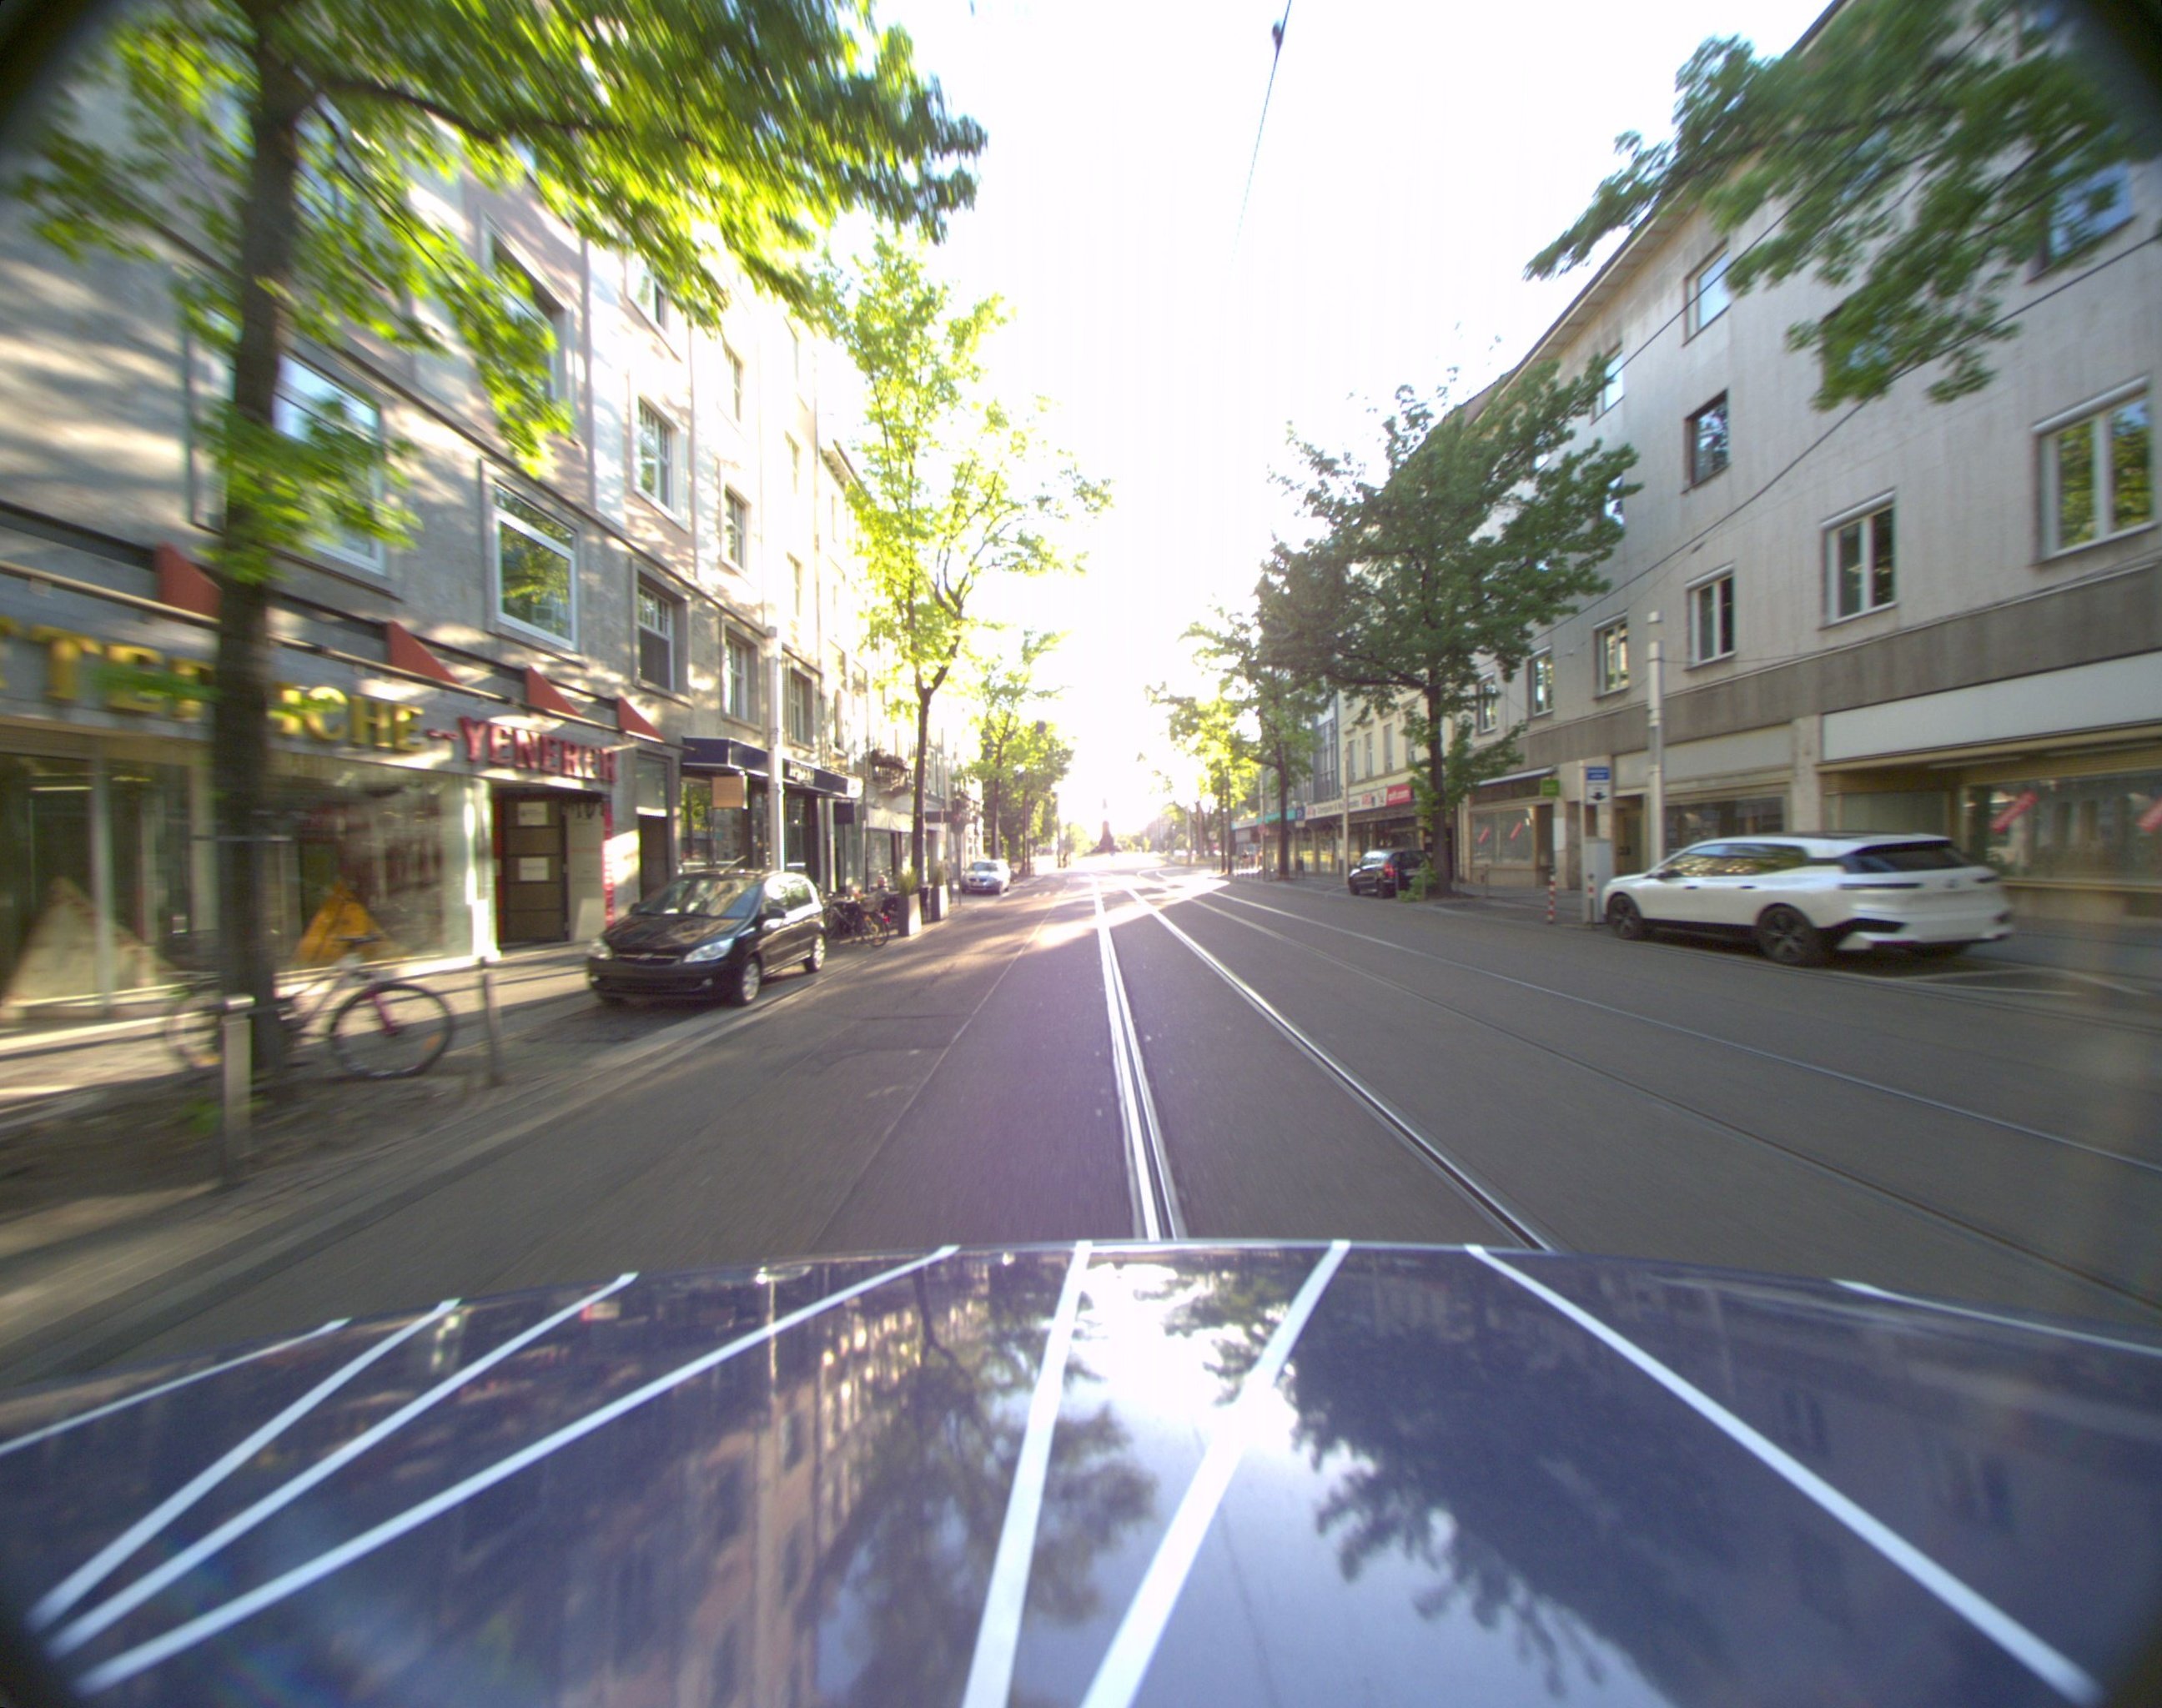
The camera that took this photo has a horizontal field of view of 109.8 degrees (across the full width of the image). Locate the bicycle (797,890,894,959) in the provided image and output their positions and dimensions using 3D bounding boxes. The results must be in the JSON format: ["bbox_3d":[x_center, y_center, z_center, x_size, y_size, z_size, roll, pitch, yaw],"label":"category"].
[{"bbox_3d":[-4.325,1.262,13.950,1.728,1.132,0.547,1,2,21],"label":"bicycle"}]

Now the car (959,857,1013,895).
[{"bbox_3d":[-4.192,0.935,34.136,1.780,1.432,4.422,2,1,1],"label":"car"}]

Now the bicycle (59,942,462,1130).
[{"bbox_3d":[-5.631,1.218,5.339,1.861,1.068,0.711,-1,1,-9],"label":"bicycle"}]

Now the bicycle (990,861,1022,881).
[{"bbox_3d":[-4.529,1.011,46.018,1.870,1.148,0.348,-2,1,3],"label":"bicycle"}]

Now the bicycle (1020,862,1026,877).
[{"bbox_3d":[-4.439,1.144,58.014,0.355,1.070,1.698,-2,1,-2],"label":"bicycle"}]

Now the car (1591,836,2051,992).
[{"bbox_3d":[9.983,0.653,10.995,1.966,1.630,4.812,-4,1,1],"label":"car"}]

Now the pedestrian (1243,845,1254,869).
[{"bbox_3d":[14.423,0.248,65.421,0.798,2.002,0.734,-2,2,2],"label":"pedestrian"}]

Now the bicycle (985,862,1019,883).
[{"bbox_3d":[-4.574,1.073,44.114,1.870,1.148,0.562,-2,1,3],"label":"bicycle"}]

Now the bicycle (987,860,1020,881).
[{"bbox_3d":[-4.623,0.991,45.450,1.870,1.148,0.562,-2,1,3],"label":"bicycle"}]

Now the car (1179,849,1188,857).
[{"bbox_3d":[28.320,-0.312,209.140,1.998,2.002,4.000,-1,1,1],"label":"car"}]

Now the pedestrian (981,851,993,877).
[{"bbox_3d":[-7.419,0.779,60.084,0.846,2.002,0.842,-2,2,-12],"label":"pedestrian"}]

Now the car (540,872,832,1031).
[{"bbox_3d":[-4.576,1.029,9.487,1.805,1.450,3.653,1,1,-2],"label":"car"}]

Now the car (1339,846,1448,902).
[{"bbox_3d":[10.418,0.605,25.650,1.967,1.630,3.999,-4,1,0],"label":"car"}]

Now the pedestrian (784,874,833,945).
[{"bbox_3d":[-5.569,1.106,15.522,0.711,1.379,0.745,-2,1,-37],"label":"pedestrian"}]

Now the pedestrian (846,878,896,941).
[{"bbox_3d":[-4.330,1.141,15.693,0.819,1.258,0.586,-1,1,6],"label":"pedestrian"}]

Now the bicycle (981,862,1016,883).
[{"bbox_3d":[-4.706,1.041,43.502,1.870,1.148,0.562,-2,1,3],"label":"bicycle"}]

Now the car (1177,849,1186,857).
[{"bbox_3d":[28.857,-0.297,218.298,1.999,2.002,4.547,-2,1,-2],"label":"car"}]

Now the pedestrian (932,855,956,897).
[{"bbox_3d":[-5.394,0.861,29.928,0.805,1.633,0.756,0,1,1],"label":"pedestrian"}]

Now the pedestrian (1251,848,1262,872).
[{"bbox_3d":[15.226,0.510,65.885,0.798,2.002,0.734,-2,2,2],"label":"pedestrian"}]
